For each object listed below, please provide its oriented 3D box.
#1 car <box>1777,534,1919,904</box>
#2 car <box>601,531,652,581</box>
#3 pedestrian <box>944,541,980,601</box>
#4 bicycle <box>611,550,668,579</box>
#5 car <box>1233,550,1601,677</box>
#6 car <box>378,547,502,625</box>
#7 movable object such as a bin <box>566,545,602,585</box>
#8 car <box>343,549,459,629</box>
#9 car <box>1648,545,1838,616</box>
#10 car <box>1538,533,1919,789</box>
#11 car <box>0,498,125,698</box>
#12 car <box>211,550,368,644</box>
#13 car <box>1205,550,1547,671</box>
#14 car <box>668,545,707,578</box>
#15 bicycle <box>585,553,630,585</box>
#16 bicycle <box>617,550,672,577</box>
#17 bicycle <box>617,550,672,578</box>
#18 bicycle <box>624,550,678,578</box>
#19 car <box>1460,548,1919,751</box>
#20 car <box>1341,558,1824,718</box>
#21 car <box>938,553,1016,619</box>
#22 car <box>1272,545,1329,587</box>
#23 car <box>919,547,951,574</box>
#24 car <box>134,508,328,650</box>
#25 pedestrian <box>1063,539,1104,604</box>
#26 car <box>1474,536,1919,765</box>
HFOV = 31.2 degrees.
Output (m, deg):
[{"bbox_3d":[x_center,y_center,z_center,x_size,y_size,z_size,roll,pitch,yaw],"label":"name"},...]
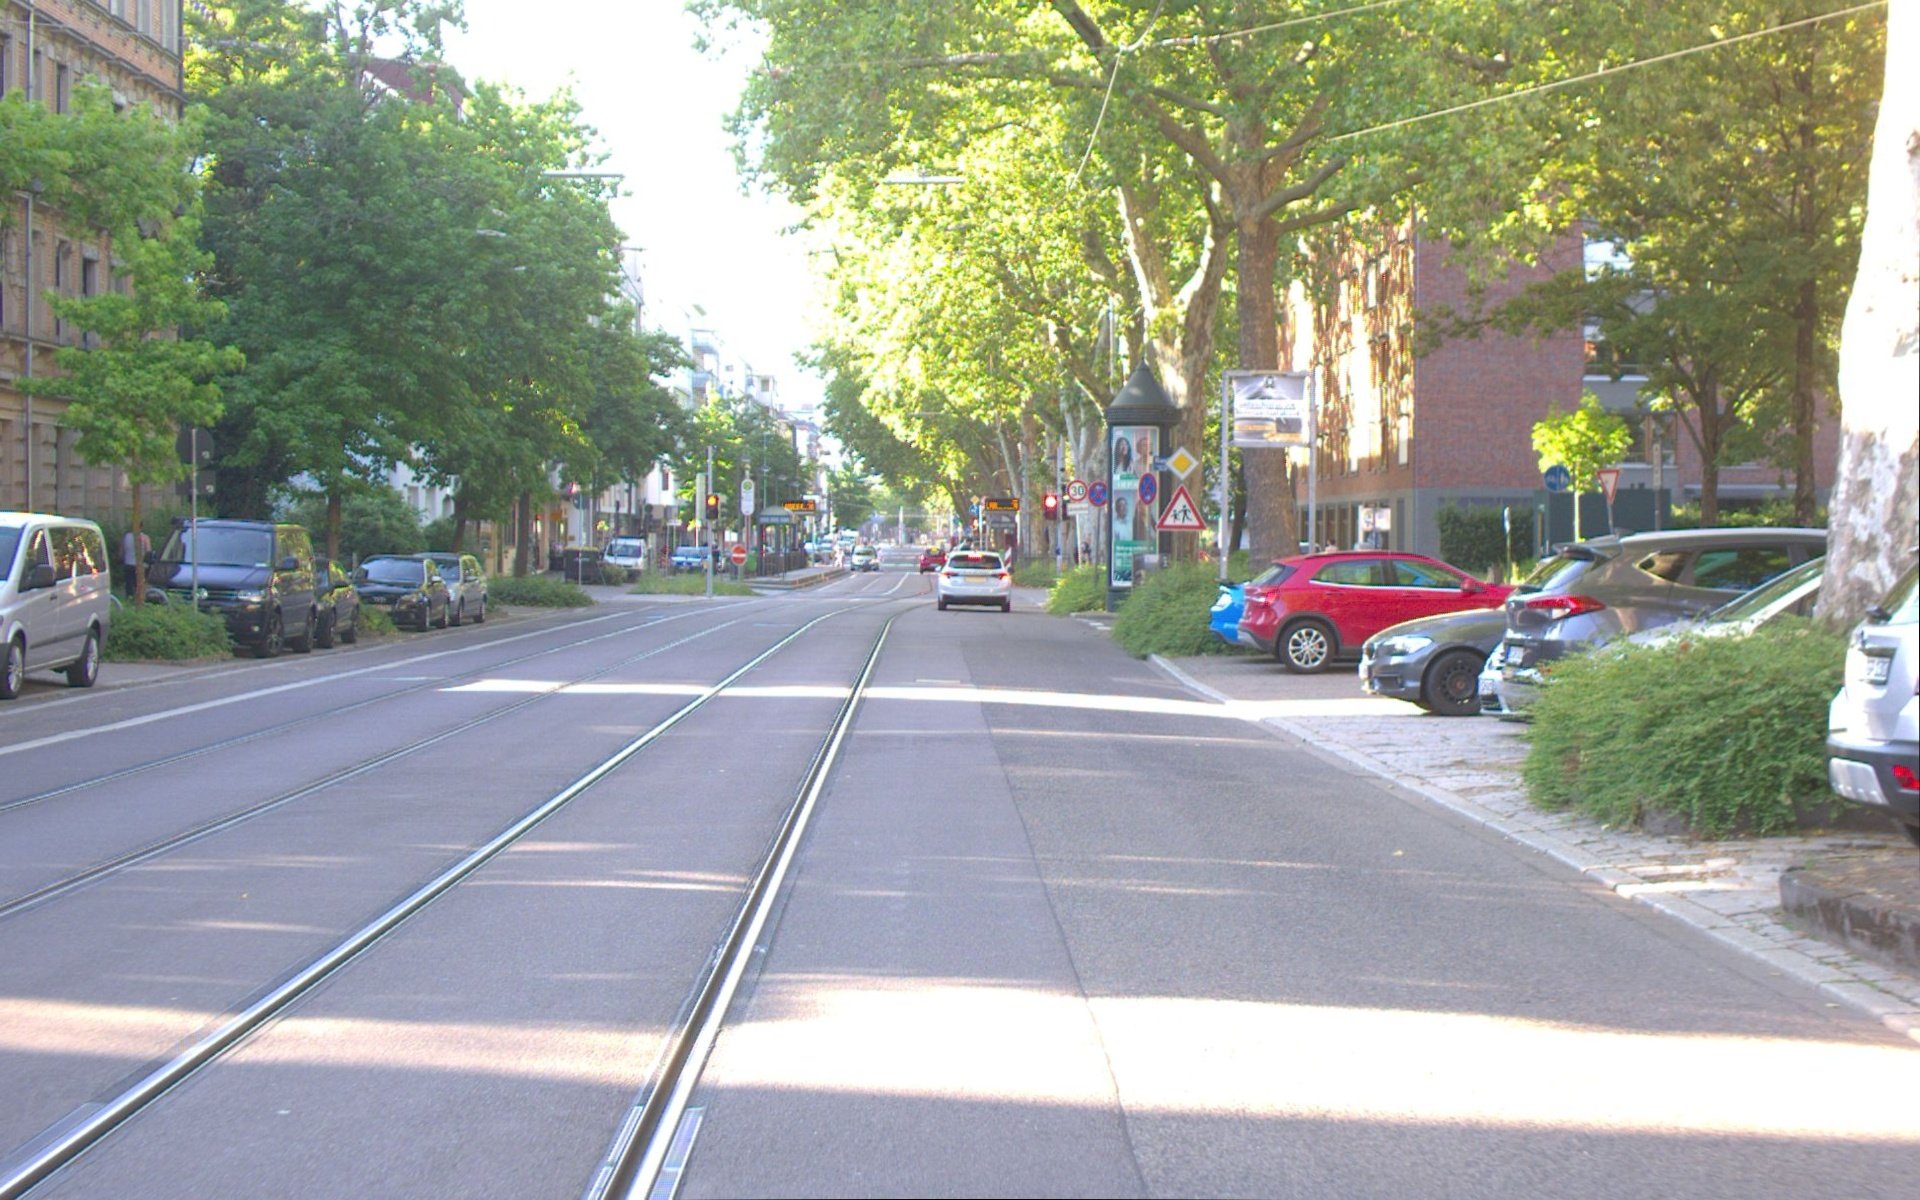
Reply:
[{"bbox_3d":[5.944,0.470,16.028,3.781,1.613,1.791,-1,1,-2],"label":"car"},{"bbox_3d":[-13.259,-1.764,136.939,1.688,1.933,4.000,0,1,-1],"label":"car"},{"bbox_3d":[0.056,-0.879,103.938,0.994,1.805,0.864,0,1,-6],"label":"pedestrian"},{"bbox_3d":[-13.476,-1.500,144.566,2.253,1.070,0.636,4,1,1],"label":"bicycle"},{"bbox_3d":[5.697,0.153,43.269,4.403,1.537,1.952,0,1,2],"label":"car"},{"bbox_3d":[-10.839,-0.324,71.888,1.700,1.545,4.536,1,1,2],"label":"car"},{"bbox_3d":[-13.505,-1.268,123.544,1.169,1.344,0.783,4,0,-5],"label":"movable object such as a bin"},{"bbox_3d":[-10.786,-0.235,66.508,1.658,1.440,3.950,1,1,-1],"label":"car"},{"bbox_3d":[16.256,-0.412,71.456,3.537,1.447,1.684,0,1,-2],"label":"car"},{"bbox_3d":[6.054,0.376,22.687,4.200,1.613,1.817,0,1,2],"label":"car"},{"bbox_3d":[-10.445,-0.065,36.673,1.843,1.982,4.988,0,1,0],"label":"car"},{"bbox_3d":[-10.890,-0.079,56.113,1.853,1.453,4.270,0,1,-2],"label":"car"},{"bbox_3d":[5.489,0.122,45.553,4.404,1.537,1.817,0,1,7],"label":"car"},{"bbox_3d":[-13.371,-1.902,168.825,1.593,1.543,4.000,3,1,-1],"label":"car"},{"bbox_3d":[-12.881,-1.118,125.620,1.533,1.071,0.885,3,1,-1],"label":"bicycle"},{"bbox_3d":[-13.759,-1.589,149.854,2.253,1.070,0.636,4,1,1],"label":"bicycle"},{"bbox_3d":[-13.587,-1.566,148.108,2.253,1.070,0.636,4,1,1],"label":"bicycle"},{"bbox_3d":[-13.634,-1.597,151.685,2.253,1.070,0.636,4,1,1],"label":"bicycle"},{"bbox_3d":[6.239,0.373,27.675,4.200,1.568,1.817,0,1,2],"label":"car"},{"bbox_3d":[5.800,0.337,32.392,4.199,1.443,1.818,0,1,-1],"label":"car"},{"bbox_3d":[0.386,-0.346,81.682,1.788,1.508,4.000,0,1,-1],"label":"car"},{"bbox_3d":[12.345,-1.239,124.772,1.600,1.490,3.417,0,1,-2],"label":"car"},{"bbox_3d":[-1.411,-2.278,195.625,1.788,1.508,4.000,0,1,-1],"label":"car"},{"bbox_3d":[-10.732,-0.332,50.940,1.993,2.007,4.835,0,1,-2],"label":"car"},{"bbox_3d":[3.637,-0.856,101.493,0.982,1.857,1.016,-3,1,-6],"label":"pedestrian"},{"bbox_3d":[6.058,0.343,25.274,4.199,1.613,1.879,0,1,-3],"label":"car"}]
